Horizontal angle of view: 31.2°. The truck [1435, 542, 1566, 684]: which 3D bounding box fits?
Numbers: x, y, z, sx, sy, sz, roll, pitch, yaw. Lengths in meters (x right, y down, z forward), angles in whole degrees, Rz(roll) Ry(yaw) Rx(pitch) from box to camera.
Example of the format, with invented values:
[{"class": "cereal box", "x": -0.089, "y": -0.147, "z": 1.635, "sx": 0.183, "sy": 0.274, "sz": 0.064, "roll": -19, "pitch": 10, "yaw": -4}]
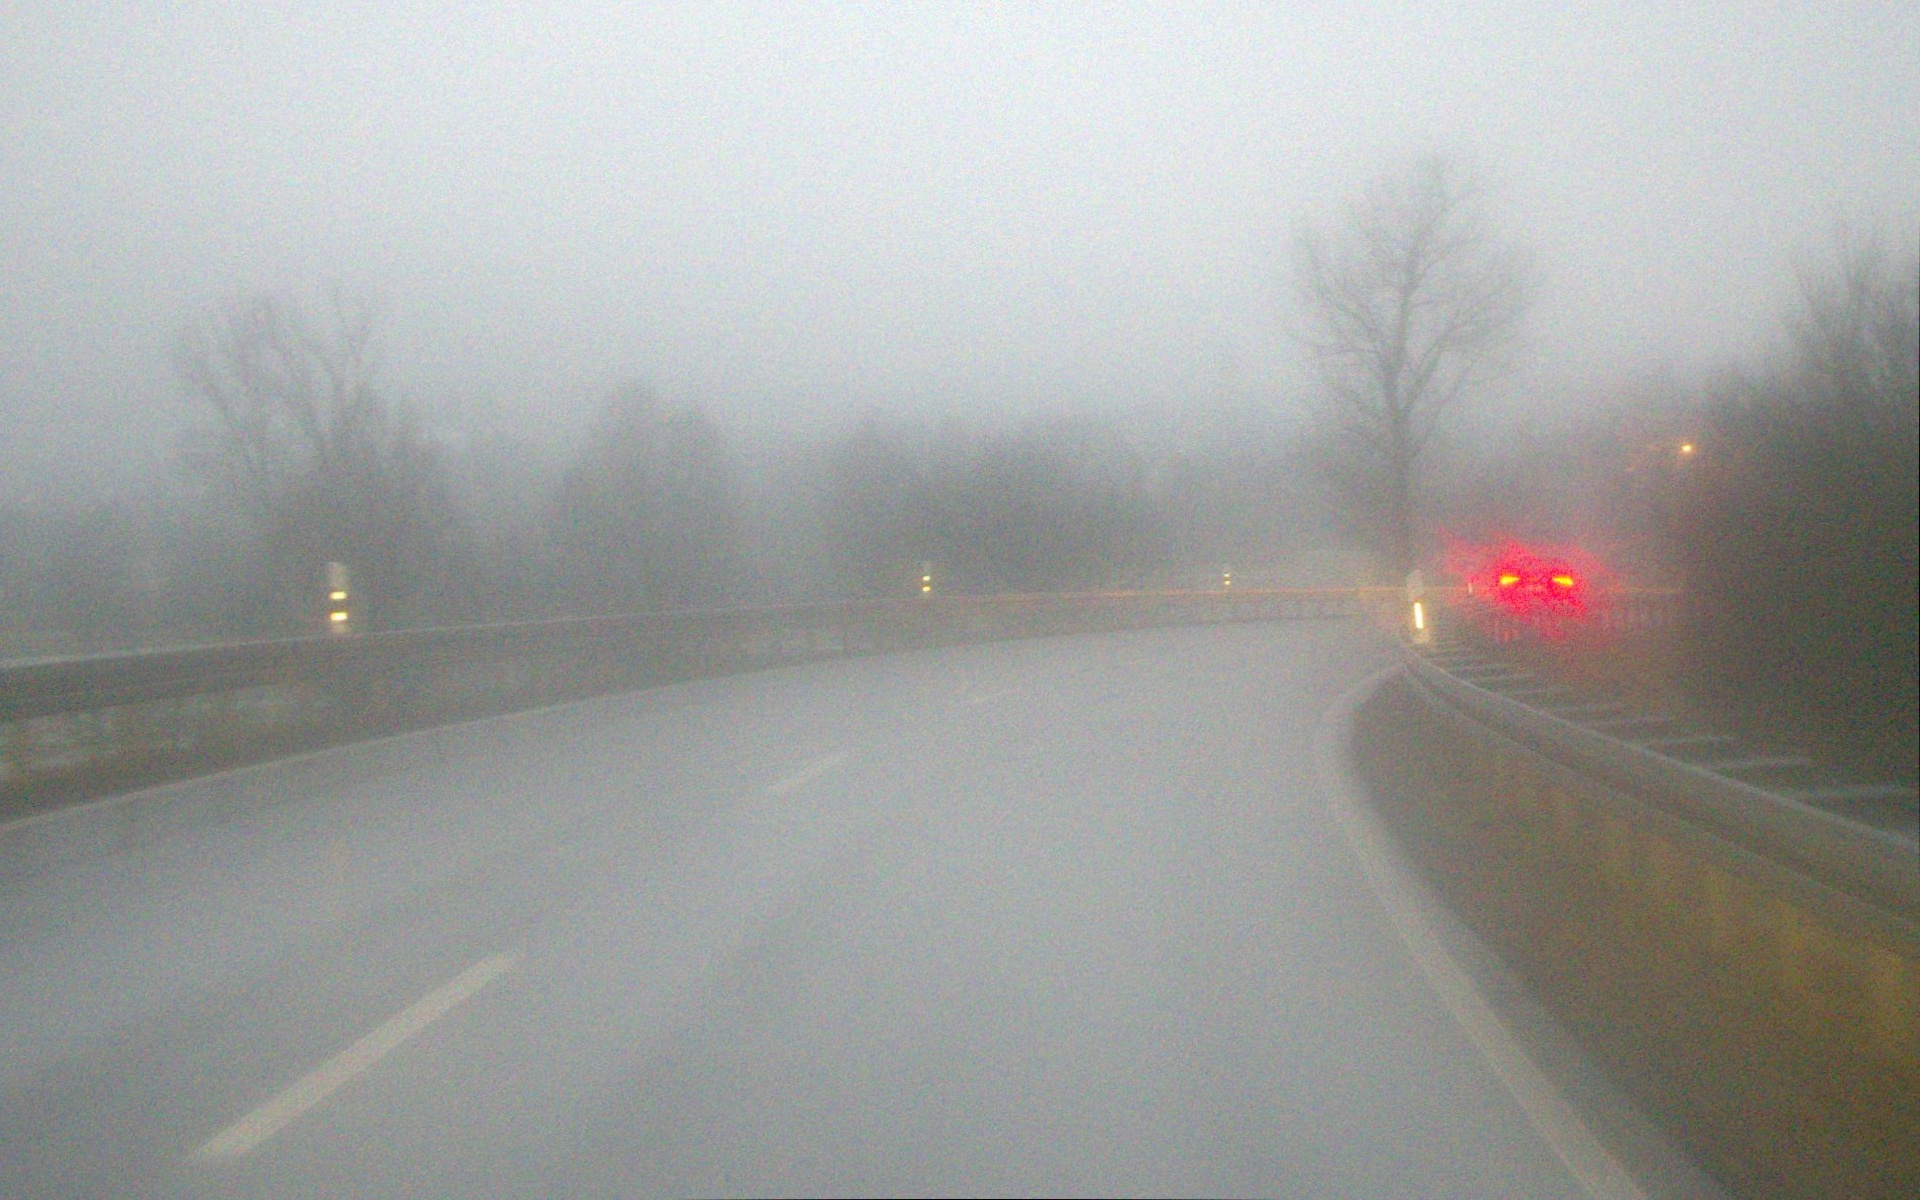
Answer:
[{"class": "truck", "x": 12.637, "y": 0.350, "z": 80.211, "sx": 2.533, "sy": 2.859, "sz": 5.919, "roll": 8, "pitch": 0, "yaw": 10}]
